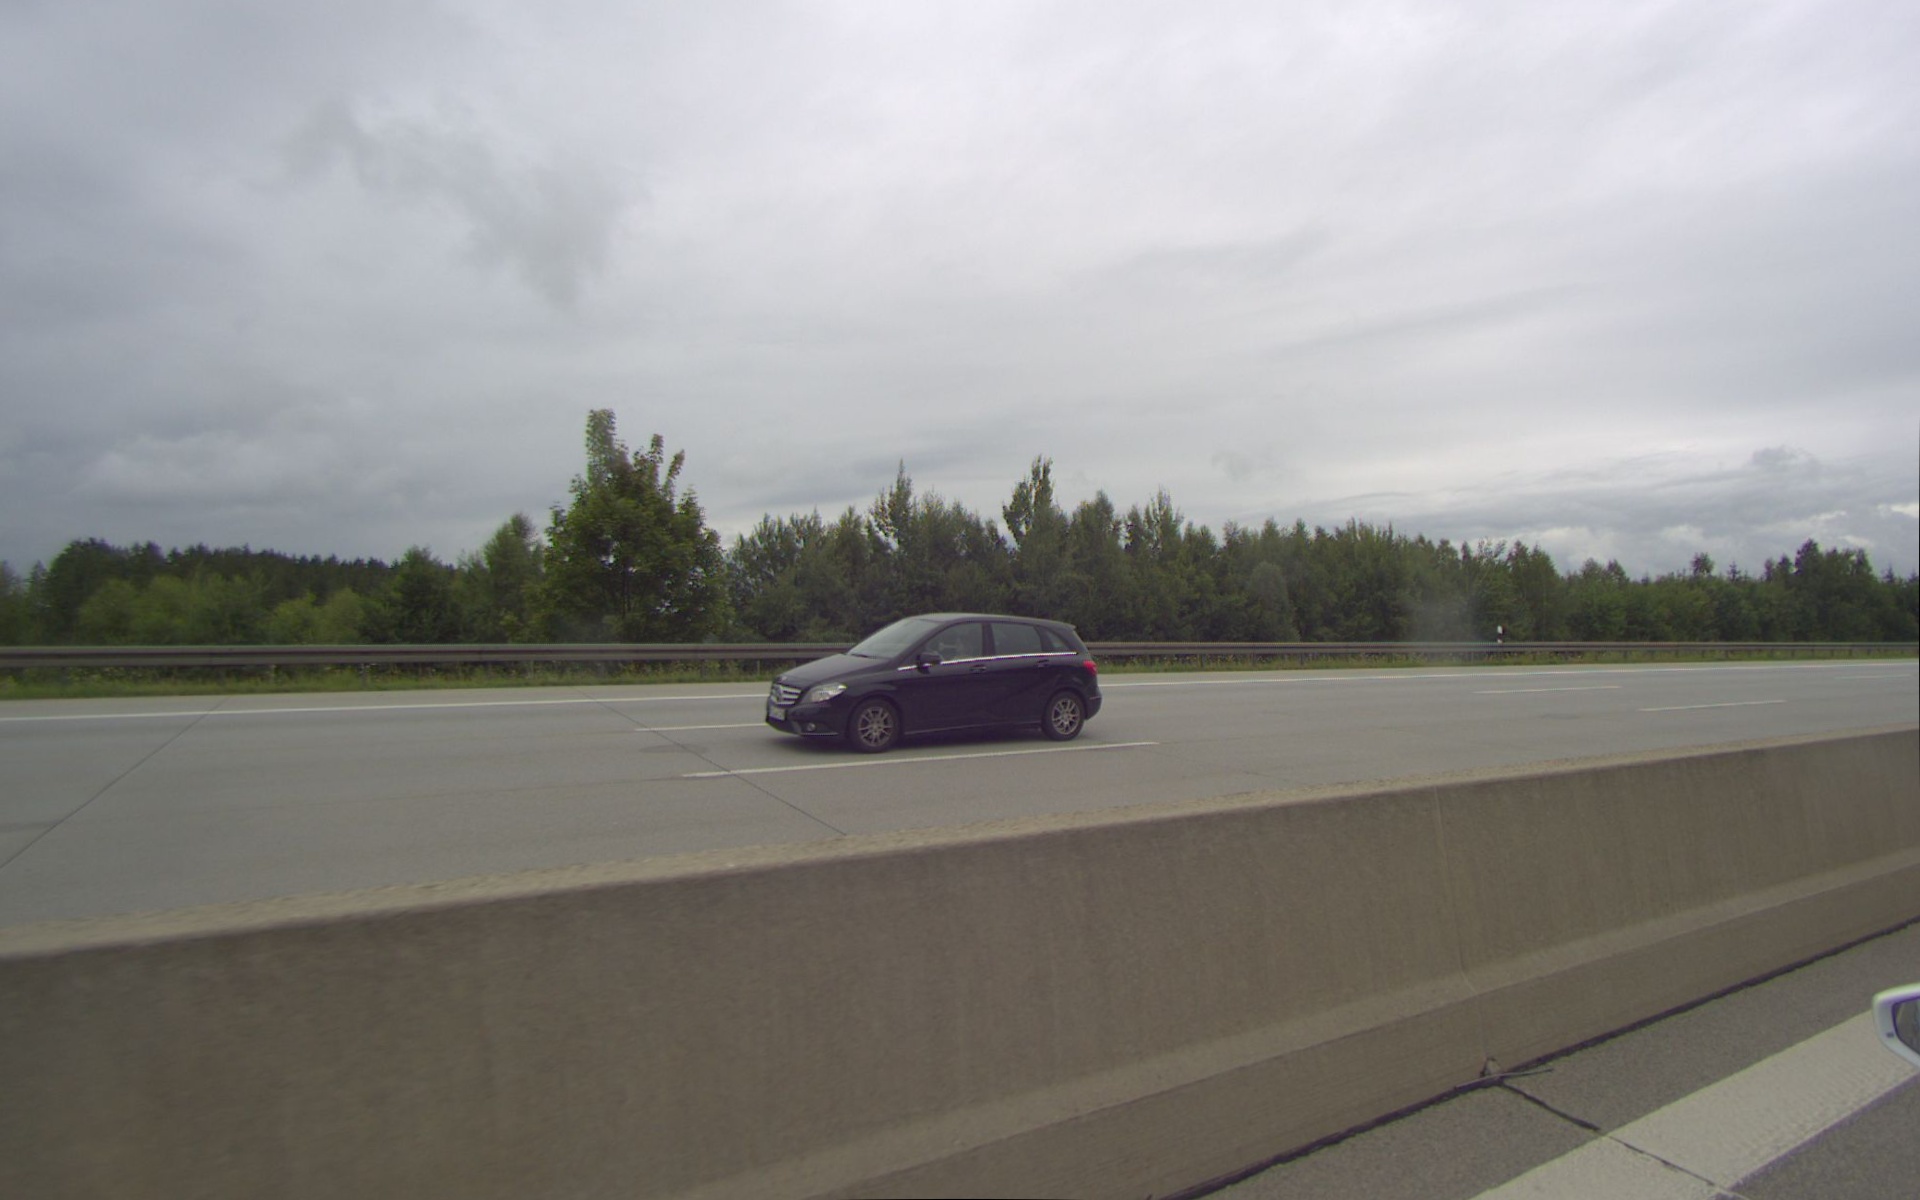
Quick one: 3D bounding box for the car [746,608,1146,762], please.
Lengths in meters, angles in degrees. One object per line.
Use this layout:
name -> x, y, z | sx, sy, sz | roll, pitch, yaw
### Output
car -> -0.106, 0.951, 12.736 | 4.716, 1.611, 1.983 | 1, 0, -31
